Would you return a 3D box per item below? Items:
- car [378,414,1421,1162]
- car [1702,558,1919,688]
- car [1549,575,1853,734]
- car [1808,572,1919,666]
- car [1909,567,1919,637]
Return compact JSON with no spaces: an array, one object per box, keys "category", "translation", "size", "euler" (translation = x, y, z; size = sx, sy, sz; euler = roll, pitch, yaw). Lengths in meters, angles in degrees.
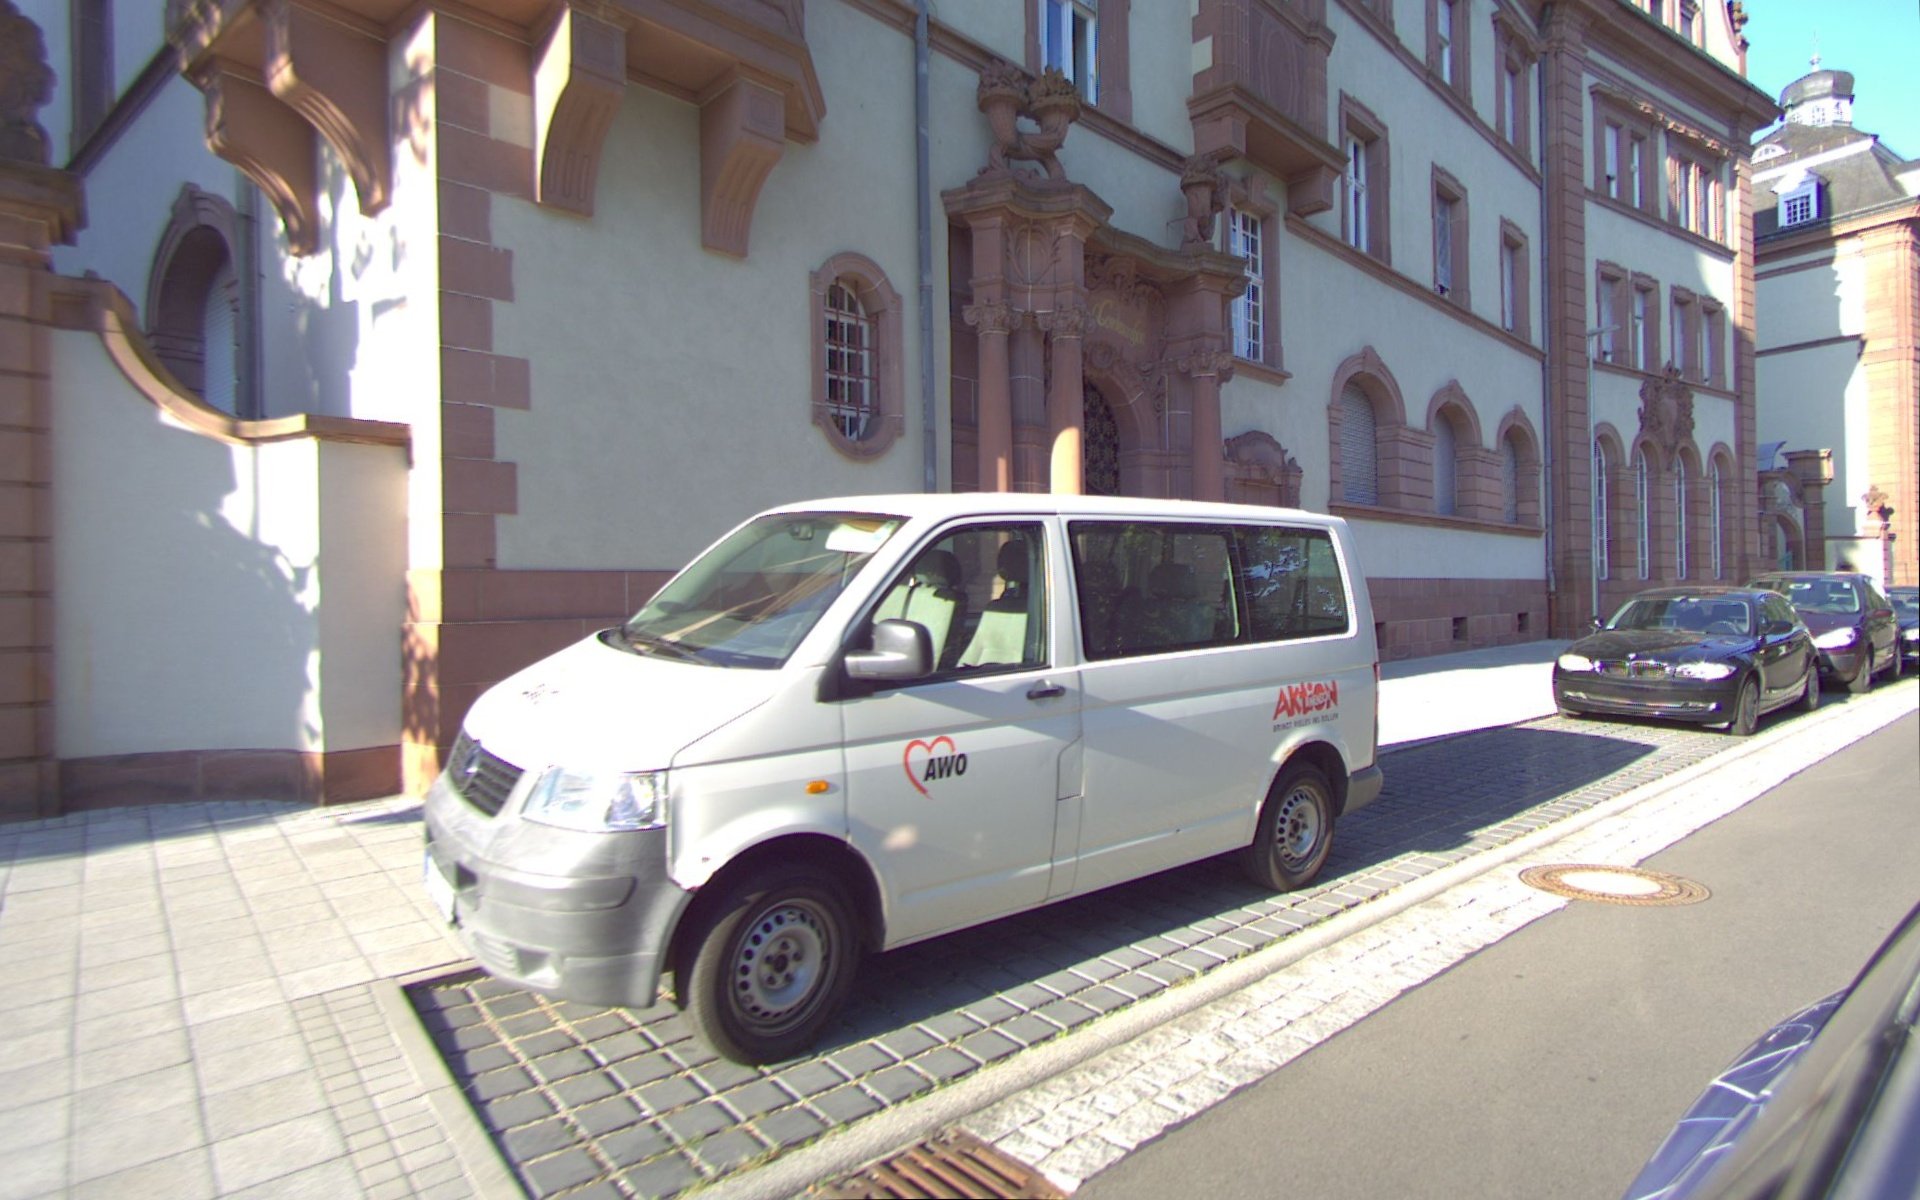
[{"category":"car","translation":[0.040,0.403,4.927],"size":[4.761,1.990,1.999],"euler":[-2,4,-38]},{"category":"car","translation":[12.449,0.219,14.685],"size":[4.119,1.622,1.819],"euler":[-2,2,-40]},{"category":"car","translation":[8.268,0.447,11.166],"size":[4.124,1.420,1.683],"euler":[-2,2,-39]},{"category":"car","translation":[16.555,0.246,17.688],"size":[4.442,1.454,1.876],"euler":[-2,2,-39]},{"category":"car","translation":[23.450,-0.001,23.056],"size":[4.485,1.550,1.774],"euler":[-1,1,-35]}]
